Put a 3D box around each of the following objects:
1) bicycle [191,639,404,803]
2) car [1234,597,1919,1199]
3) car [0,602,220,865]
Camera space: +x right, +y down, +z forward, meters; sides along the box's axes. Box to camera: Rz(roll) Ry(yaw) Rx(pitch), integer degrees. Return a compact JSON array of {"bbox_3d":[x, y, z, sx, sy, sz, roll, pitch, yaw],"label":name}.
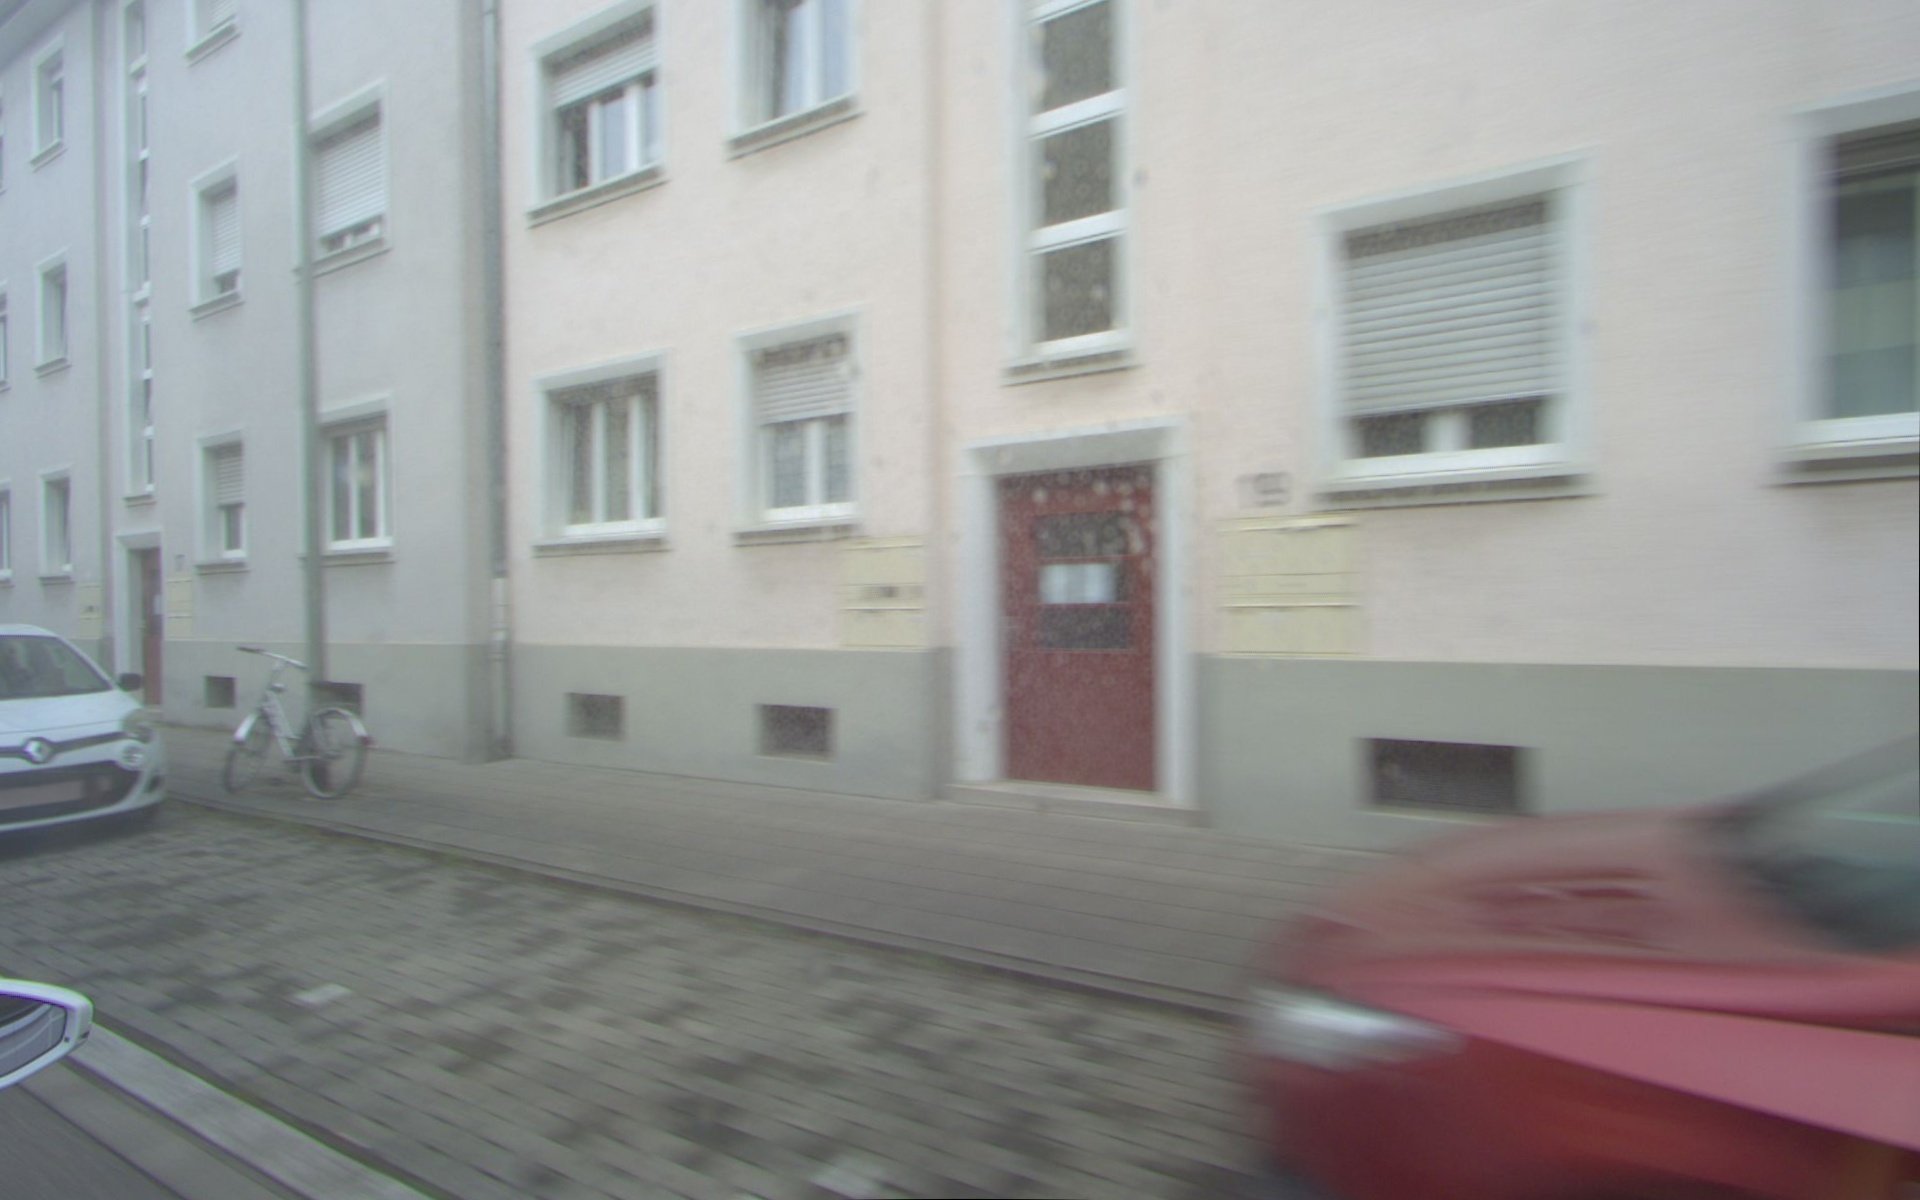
[{"bbox_3d":[-5.413,0.920,8.137,2.094,1.155,0.604,0,1,32],"label":"bicycle"},{"bbox_3d":[2.553,0.732,1.361,3.880,1.428,1.749,0,2,32],"label":"car"},{"bbox_3d":[-7.353,0.839,7.442,3.751,1.620,1.779,0,1,33],"label":"car"}]
